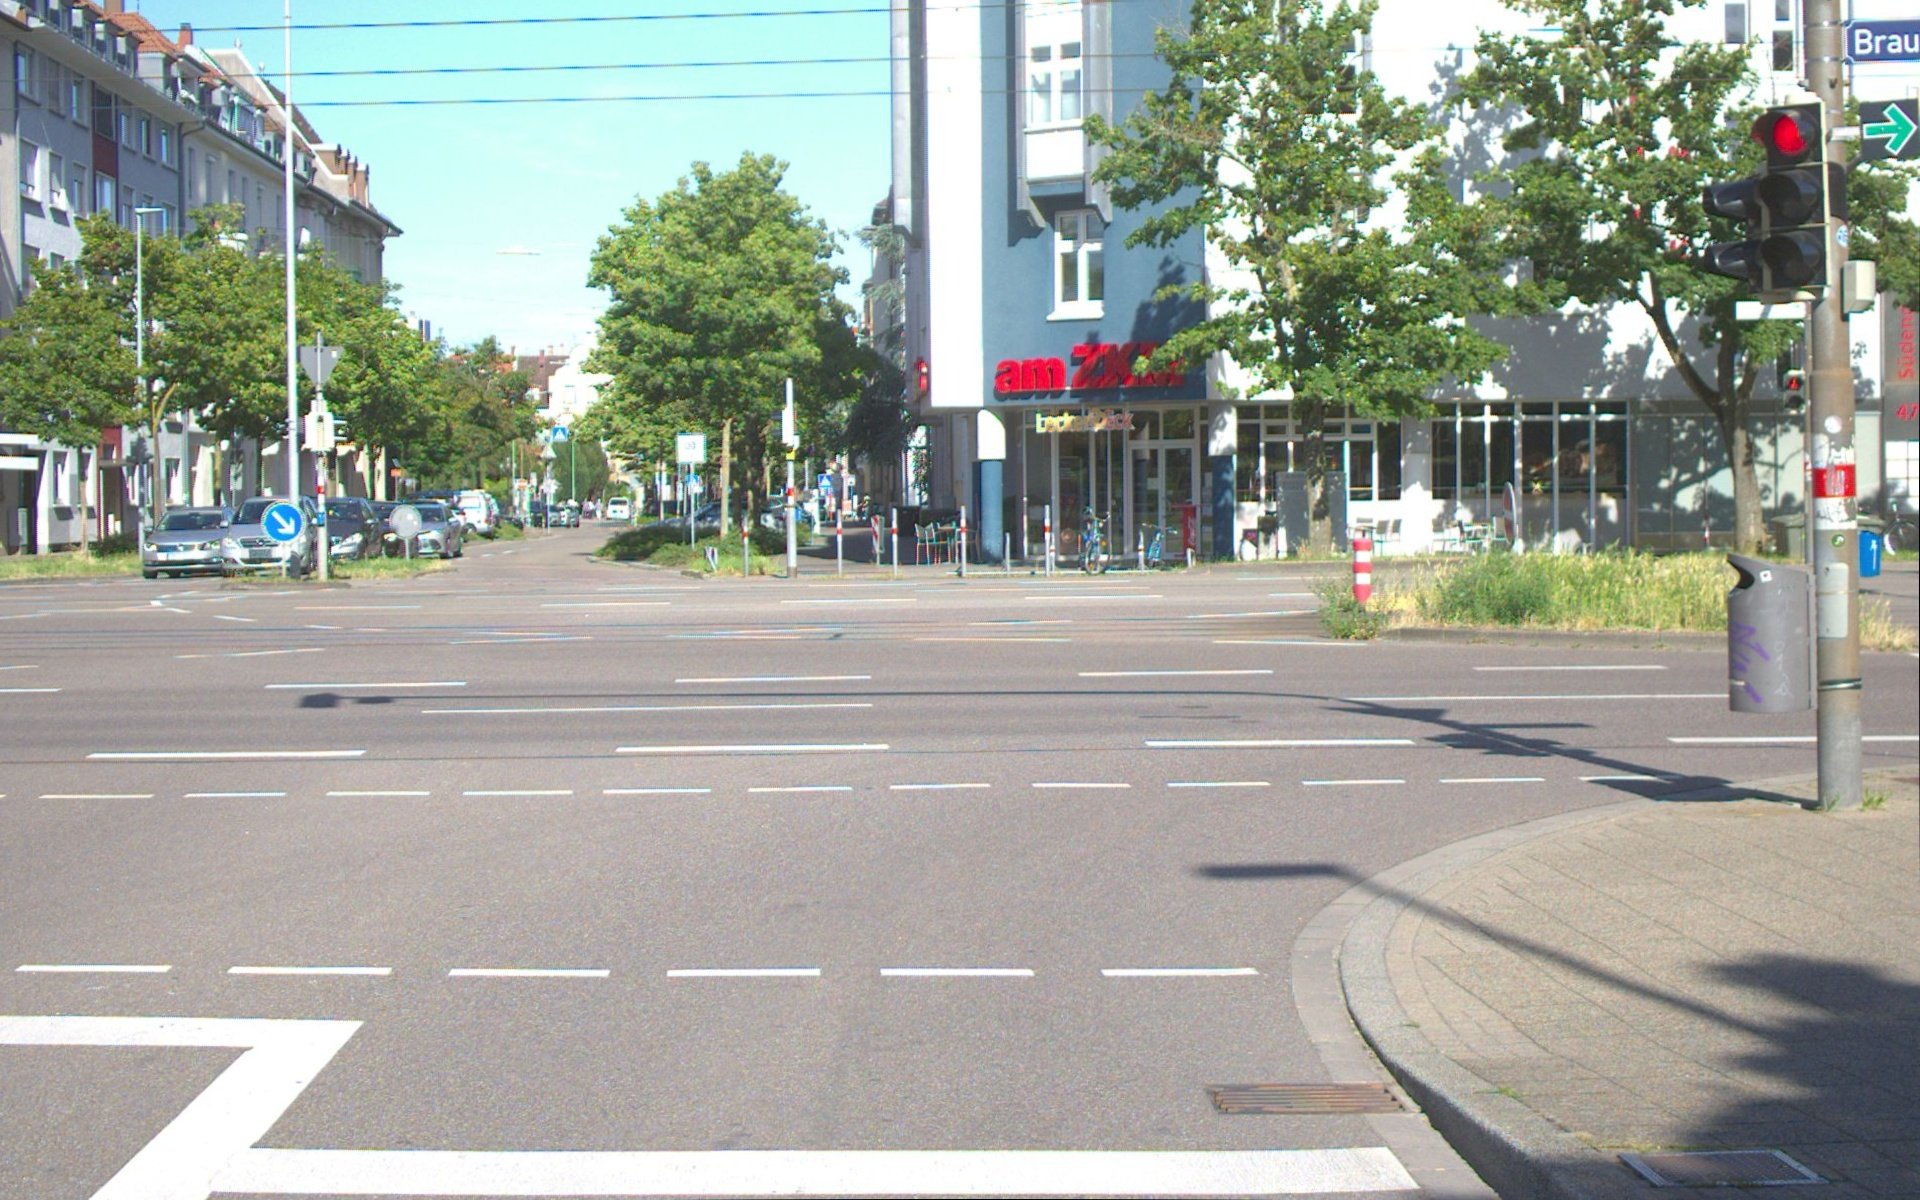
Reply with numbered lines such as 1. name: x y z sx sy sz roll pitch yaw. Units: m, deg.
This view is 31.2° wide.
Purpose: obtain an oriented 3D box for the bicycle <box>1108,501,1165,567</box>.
1. bicycle: 2.813 -1.057 54.747 0.471 1.023 1.517 -1 2 -14

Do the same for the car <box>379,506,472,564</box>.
1. car: -14.073 -1.721 90.718 1.688 1.427 4.400 2 1 0

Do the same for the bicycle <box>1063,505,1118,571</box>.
1. bicycle: 2.059 -0.987 54.208 0.471 1.023 1.517 -1 2 -13

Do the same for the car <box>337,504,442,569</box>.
1. car: -13.458 -1.515 81.265 1.688 1.427 4.400 2 1 0

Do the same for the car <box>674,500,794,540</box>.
1. car: -7.063 -2.477 107.214 3.566 1.219 1.731 0 1 -10

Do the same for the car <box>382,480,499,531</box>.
1. car: -20.792 -3.777 137.716 4.504 2.007 2.000 0 1 -4

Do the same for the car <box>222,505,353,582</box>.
1. car: -13.373 -1.142 68.601 1.688 1.427 4.400 2 1 0

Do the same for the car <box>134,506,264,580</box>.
1. car: -15.822 -1.200 71.655 1.688 1.427 4.400 2 1 0

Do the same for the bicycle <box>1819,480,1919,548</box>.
1. bicycle: 16.259 -1.534 61.031 1.863 1.178 0.562 -1 2 -6

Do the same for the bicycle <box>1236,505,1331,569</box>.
1. bicycle: 5.323 -1.043 56.557 1.512 1.023 0.473 -1 2 9

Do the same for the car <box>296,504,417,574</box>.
1. car: -13.150 -1.346 75.132 1.688 1.427 4.400 2 1 2
